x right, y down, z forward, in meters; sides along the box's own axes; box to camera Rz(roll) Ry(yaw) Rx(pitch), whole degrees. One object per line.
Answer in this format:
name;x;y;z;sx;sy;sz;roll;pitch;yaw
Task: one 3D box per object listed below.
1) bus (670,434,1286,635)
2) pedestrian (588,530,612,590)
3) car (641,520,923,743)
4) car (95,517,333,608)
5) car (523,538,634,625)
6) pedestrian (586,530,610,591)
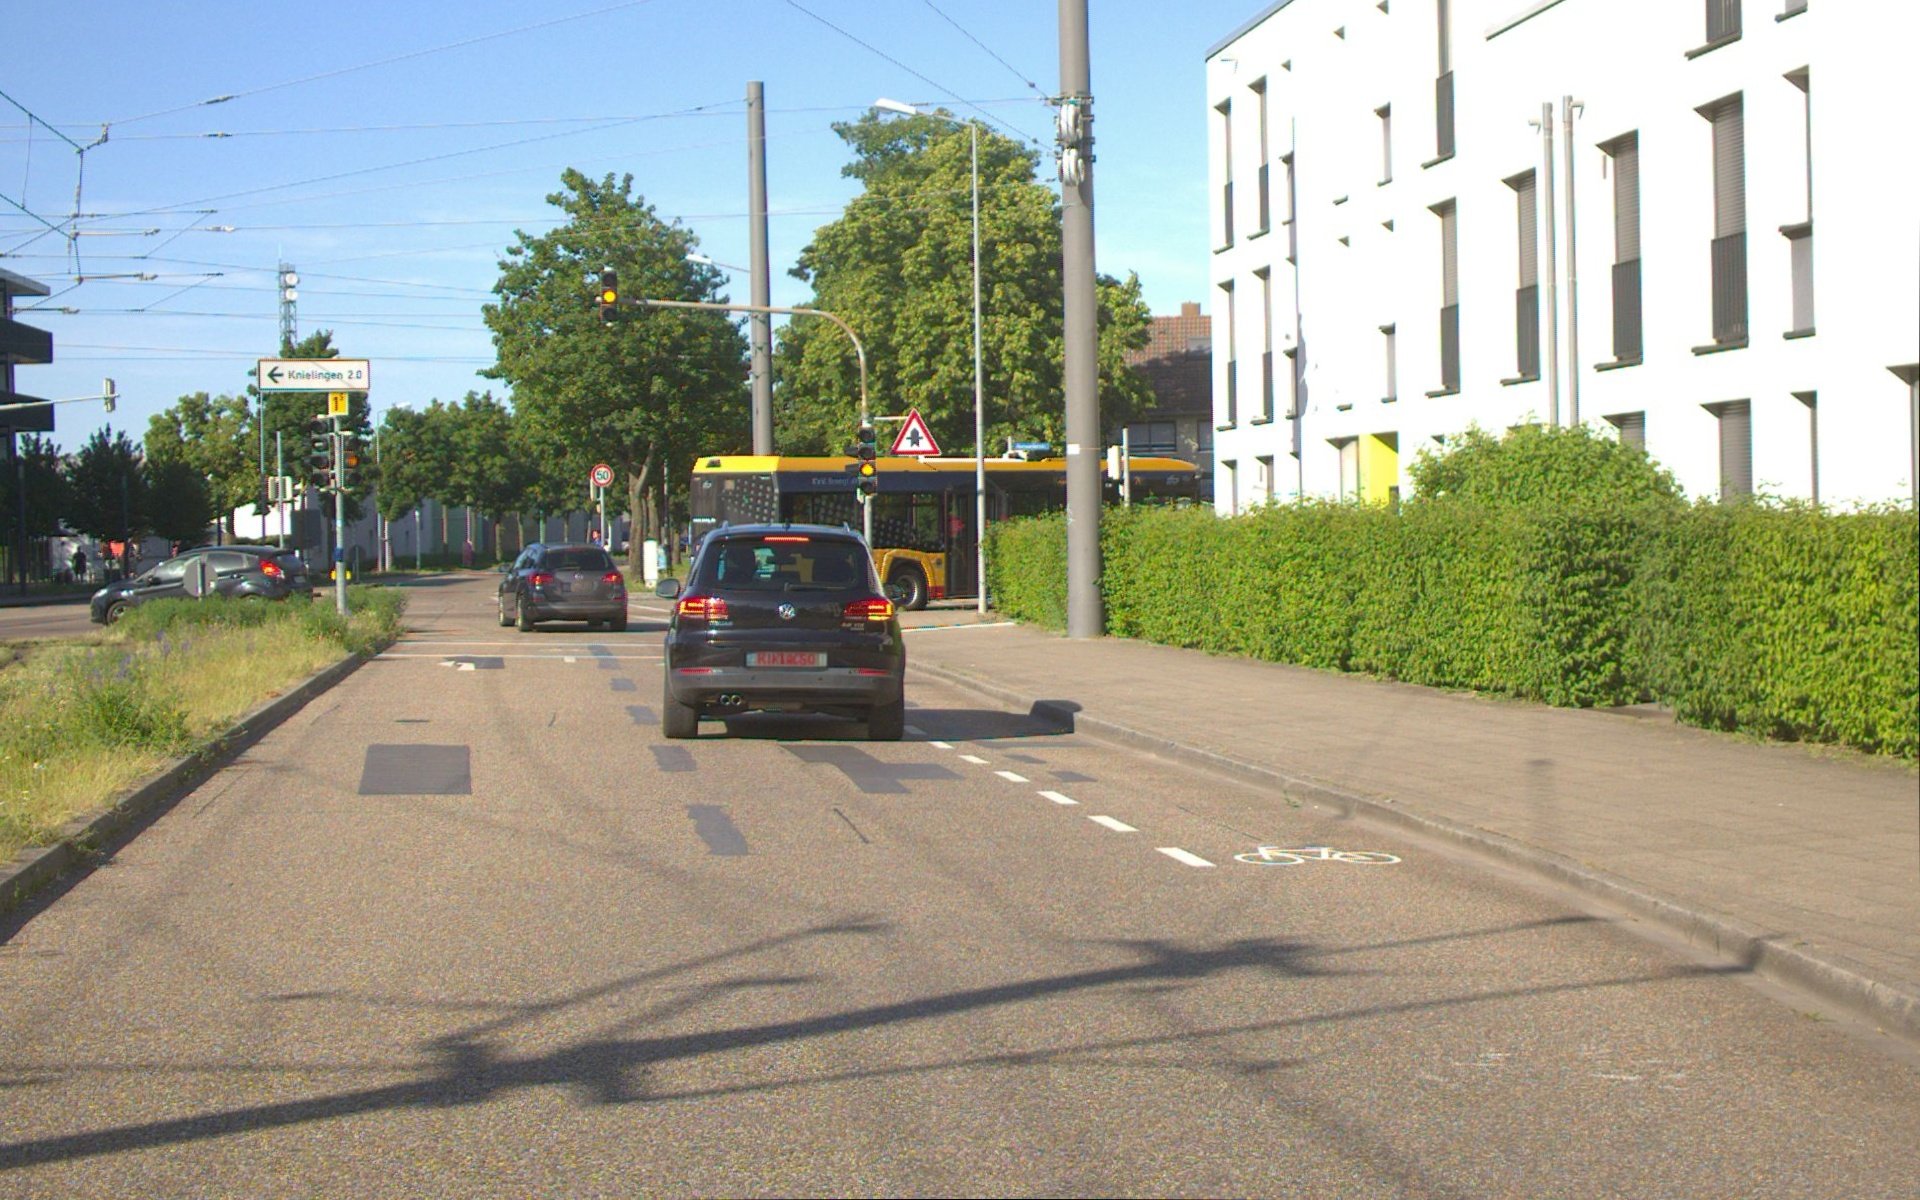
bus;0.731;-1.296;68.829;14.644;3.658;2.846;-1;2;-45
pedestrian;-9.821;-1.087;93.911;0.603;1.634;0.529;0;1;-2
car;-1.493;0.190;27.301;1.905;1.637;4.001;0;1;-8
car;-13.355;-0.676;61.608;3.729;1.426;1.708;-2;2;10
car;-6.466;-0.338;58.008;1.750;1.382;4.001;0;1;-8
pedestrian;-9.825;-1.075;93.365;0.603;1.634;0.529;0;1;-2
